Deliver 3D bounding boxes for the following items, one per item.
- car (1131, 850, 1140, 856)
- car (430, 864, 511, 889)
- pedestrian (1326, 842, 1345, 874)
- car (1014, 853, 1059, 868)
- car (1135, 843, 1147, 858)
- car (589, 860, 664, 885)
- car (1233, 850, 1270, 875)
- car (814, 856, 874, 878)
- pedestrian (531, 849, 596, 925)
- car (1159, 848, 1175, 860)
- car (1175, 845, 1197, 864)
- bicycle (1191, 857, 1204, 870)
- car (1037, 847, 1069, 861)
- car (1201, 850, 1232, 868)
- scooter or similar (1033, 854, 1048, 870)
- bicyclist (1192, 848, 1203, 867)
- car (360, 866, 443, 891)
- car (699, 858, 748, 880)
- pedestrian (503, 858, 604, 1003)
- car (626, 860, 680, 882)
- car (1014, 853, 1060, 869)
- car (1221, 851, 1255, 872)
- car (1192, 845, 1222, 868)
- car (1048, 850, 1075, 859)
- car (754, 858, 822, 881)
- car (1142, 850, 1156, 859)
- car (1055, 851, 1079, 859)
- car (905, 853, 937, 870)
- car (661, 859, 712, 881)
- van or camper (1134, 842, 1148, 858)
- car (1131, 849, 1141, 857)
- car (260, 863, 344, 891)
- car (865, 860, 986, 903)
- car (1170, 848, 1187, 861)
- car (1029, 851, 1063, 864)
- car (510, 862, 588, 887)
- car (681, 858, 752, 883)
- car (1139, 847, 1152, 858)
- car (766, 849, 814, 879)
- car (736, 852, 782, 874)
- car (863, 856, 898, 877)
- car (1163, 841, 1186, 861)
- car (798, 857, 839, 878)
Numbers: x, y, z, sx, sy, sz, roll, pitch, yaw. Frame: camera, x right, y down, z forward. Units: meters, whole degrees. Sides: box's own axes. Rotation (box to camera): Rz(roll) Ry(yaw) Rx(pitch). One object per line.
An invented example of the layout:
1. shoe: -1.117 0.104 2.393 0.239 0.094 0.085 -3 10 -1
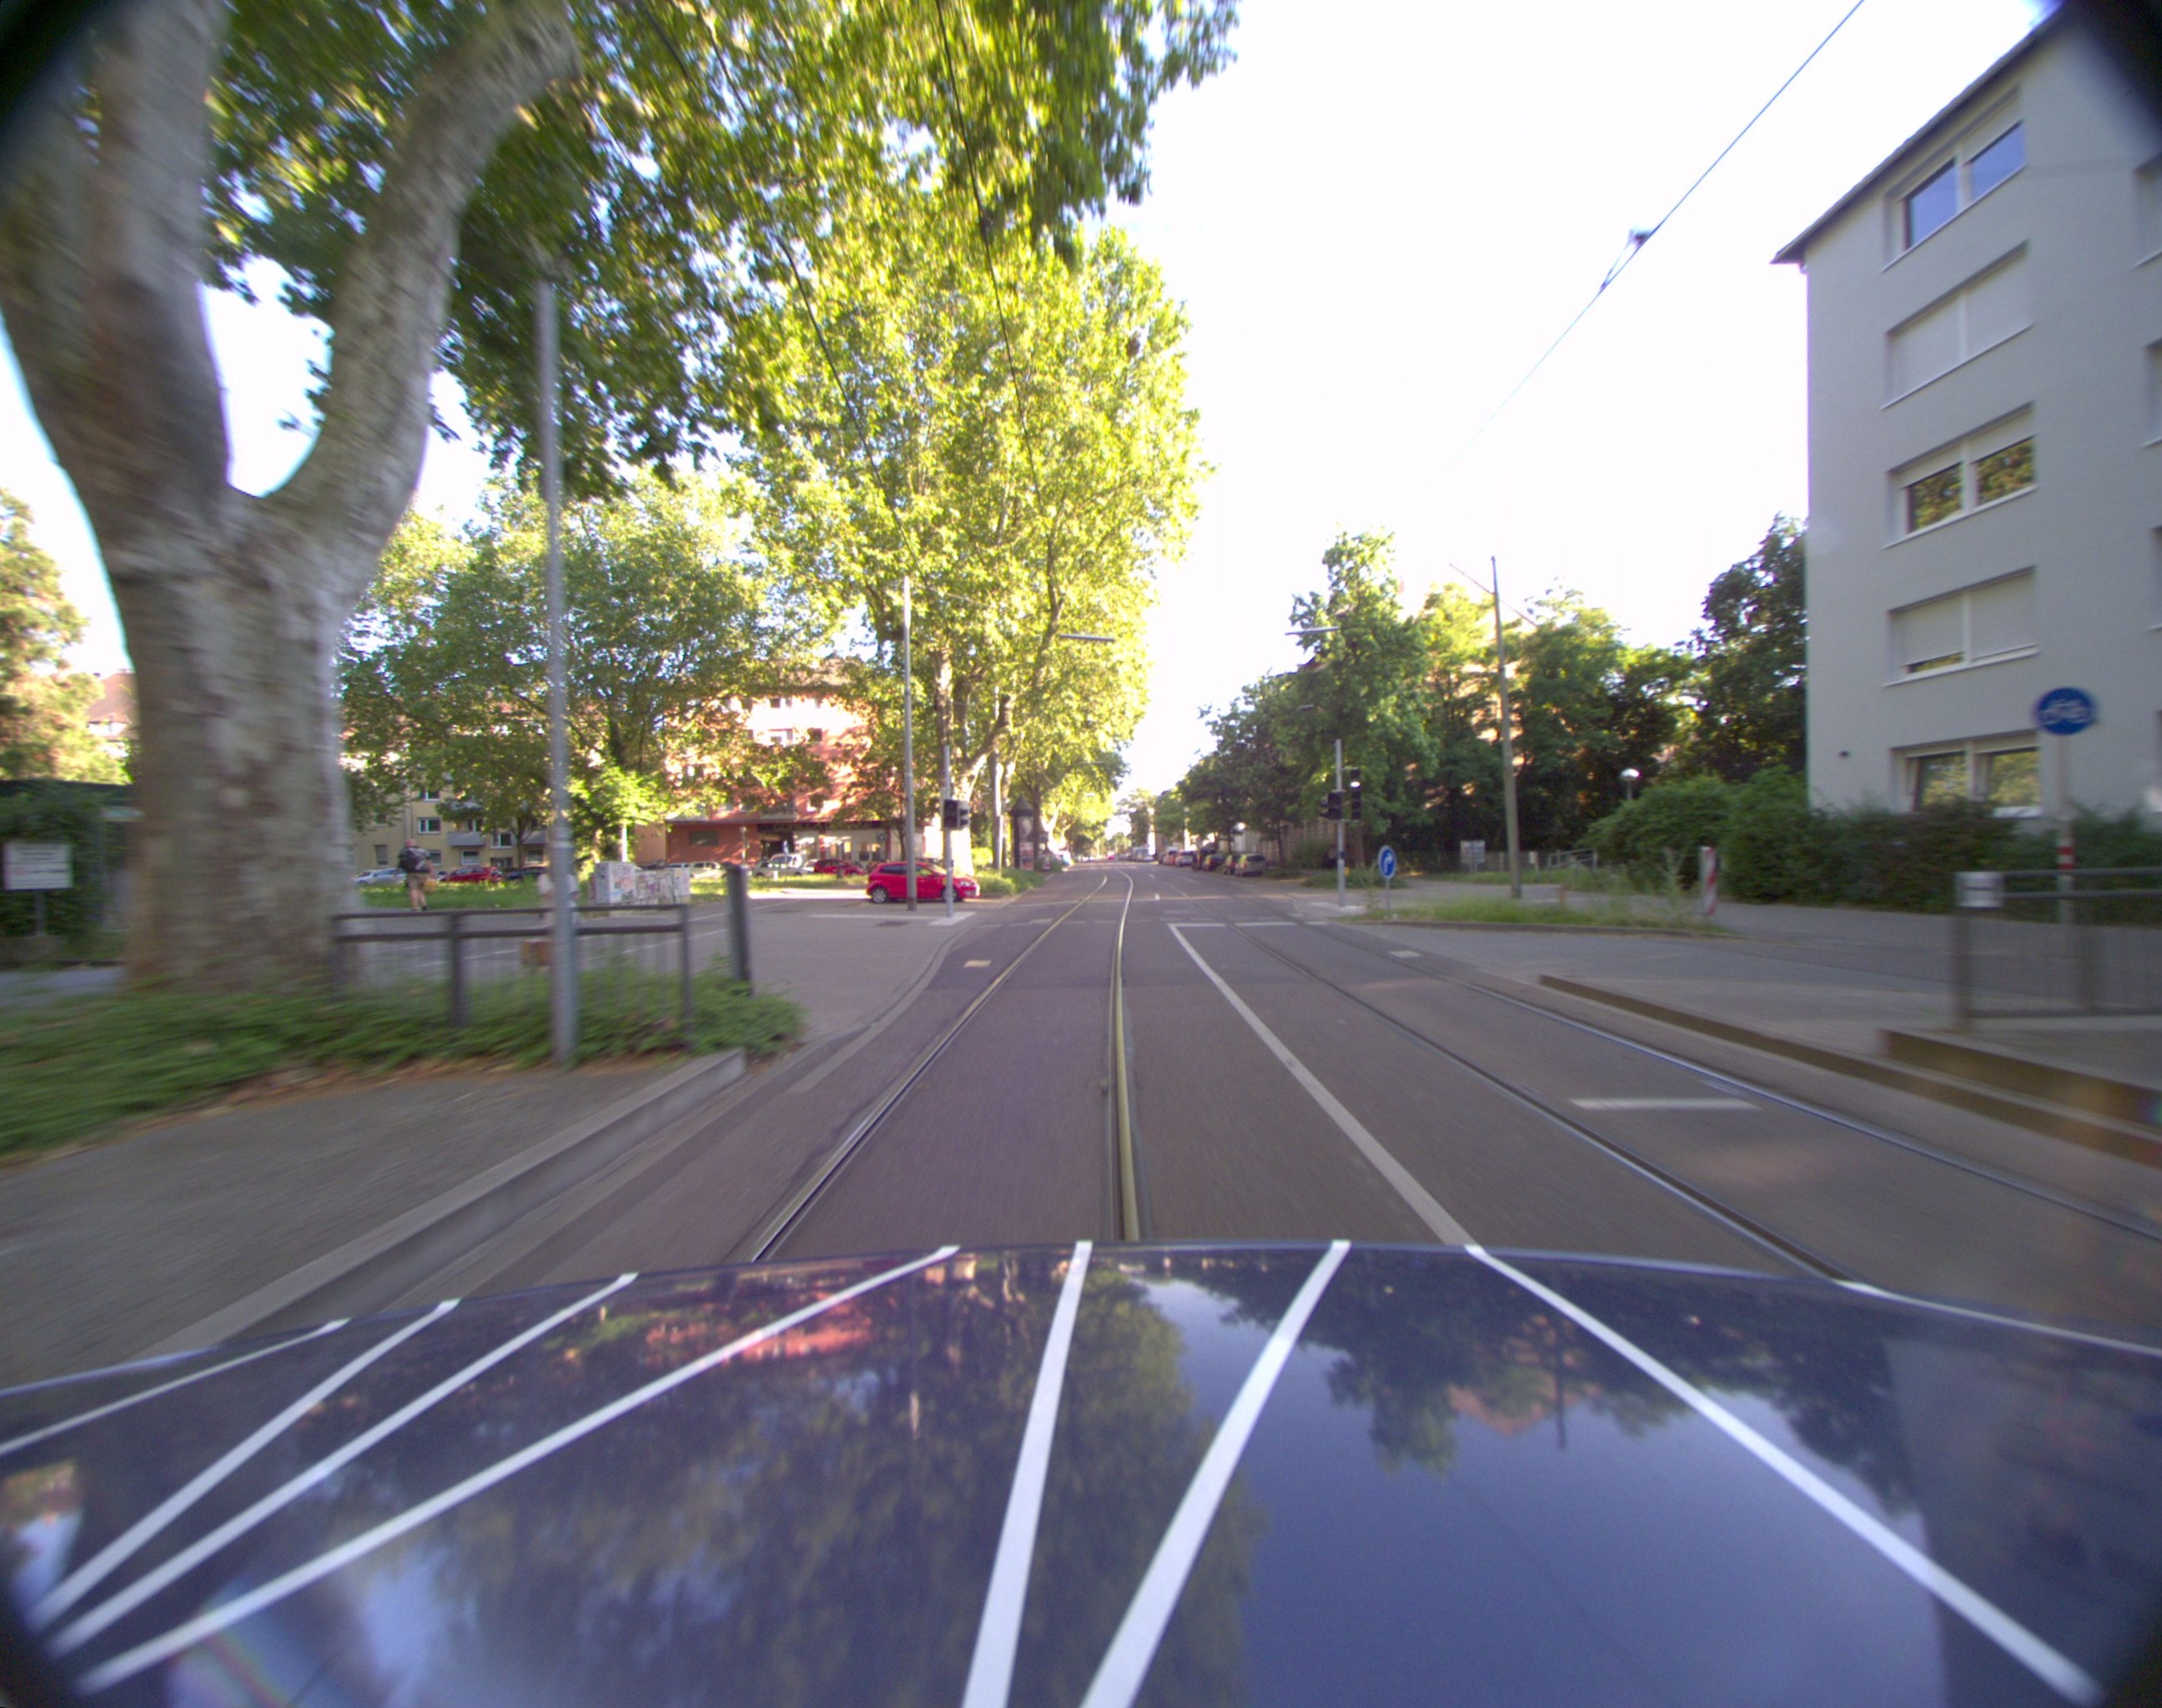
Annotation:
1. car: 12.965 -0.214 182.045 1.791 1.462 4.434 -2 0 0
2. car: -40.648 1.480 50.650 3.928 1.572 1.683 -1 0 -1
3. pedestrian: 14.951 0.207 44.656 0.743 1.836 0.728 -3 1 -1
4. car: -4.583 0.658 79.204 4.413 1.534 1.952 -1 0 3
5. car: 12.073 -0.690 153.141 1.927 2.730 4.546 -5 0 1
6. car: -30.524 1.242 51.098 3.928 1.572 1.683 -1 0 -1
7. car: 11.232 0.523 50.267 1.703 1.541 4.537 -2 0 4
8. car: -15.909 0.861 51.114 3.547 1.444 1.683 -1 0 -1
9. pedestrian: -12.685 0.793 18.656 0.997 1.800 0.864 -1 1 -4
10. car: 12.329 0.012 109.447 1.997 1.680 4.262 -1 0 3
11. car: 11.755 0.044 85.257 1.848 1.977 4.988 -1 0 2
12. bicycle: 9.394 0.769 61.502 0.642 0.981 2.101 5 1 0
13. car: -4.230 0.013 115.084 4.859 2.002 2.193 0 0 -2
14. car: 11.701 0.400 65.691 1.858 1.450 4.269 -1 0 0
15. scooter or similar: -3.371 0.662 63.248 1.211 1.233 0.569 -1 1 -1
16. bicyclist: 9.445 0.276 61.799 0.642 1.447 0.837 5 1 0
17. car: -45.020 1.597 50.407 3.928 1.572 1.683 -1 0 -1
18. car: -27.734 1.139 59.109 1.794 1.565 4.576 -1 0 -3
19. pedestrian: -6.312 0.888 9.129 0.654 1.659 0.738 -1 1 0
20. car: -33.036 1.284 58.825 1.794 1.565 4.576 -1 0 -3
21. car: -4.435 0.673 76.917 4.411 1.534 1.818 -1 0 8
22. car: 11.318 0.532 55.038 1.662 1.437 3.949 -2 0 0
23. car: 11.677 0.231 70.661 1.999 2.002 4.834 -1 0 0
24. car: -3.473 0.156 138.851 4.810 1.621 1.893 0 0 1
25. car: -19.821 1.015 51.494 3.928 1.444 1.683 -1 0 -1
26. car: 12.256 0.068 136.828 1.776 1.484 4.940 -2 0 -2
27. car: -2.826 0.234 154.403 4.611 1.485 1.893 0 0 4
28. car: -14.108 0.657 67.234 1.753 1.426 4.468 -1 0 1
29. car: -30.684 1.218 59.235 1.794 1.565 4.576 -1 0 -3
30. van or camper: 12.608 -0.864 160.253 2.423 2.960 5.991 -5 0 2
31. car: 12.507 -0.300 171.999 1.791 1.743 4.434 -2 0 0
32. car: -58.857 1.698 57.550 1.794 1.896 4.576 -1 0 -3
33. car: -5.470 0.955 27.055 3.893 1.415 1.649 -1 1 4
34. car: 12.189 0.057 95.020 1.689 1.530 3.707 -1 0 0
35. car: -4.471 0.473 97.198 4.211 1.609 1.878 -1 0 -2
36. car: -35.355 1.339 50.580 3.928 1.572 1.683 -1 0 -1
37. car: -24.633 1.082 51.394 3.928 1.572 1.683 -1 0 -1
38. car: 12.498 -0.332 147.301 1.928 2.034 4.941 -2 0 0
39. car: -22.629 0.756 59.230 1.917 2.171 5.083 -1 0 -2
40. car: -24.950 0.662 59.029 1.794 1.565 4.576 -1 0 -3
41. car: -15.544 0.937 59.172 1.794 1.565 4.576 -1 0 -4
42. car: 12.295 -0.409 100.500 2.310 2.493 5.343 -1 0 -1
43. car: -20.447 1.005 59.365 1.794 1.565 4.576 -1 0 -3
